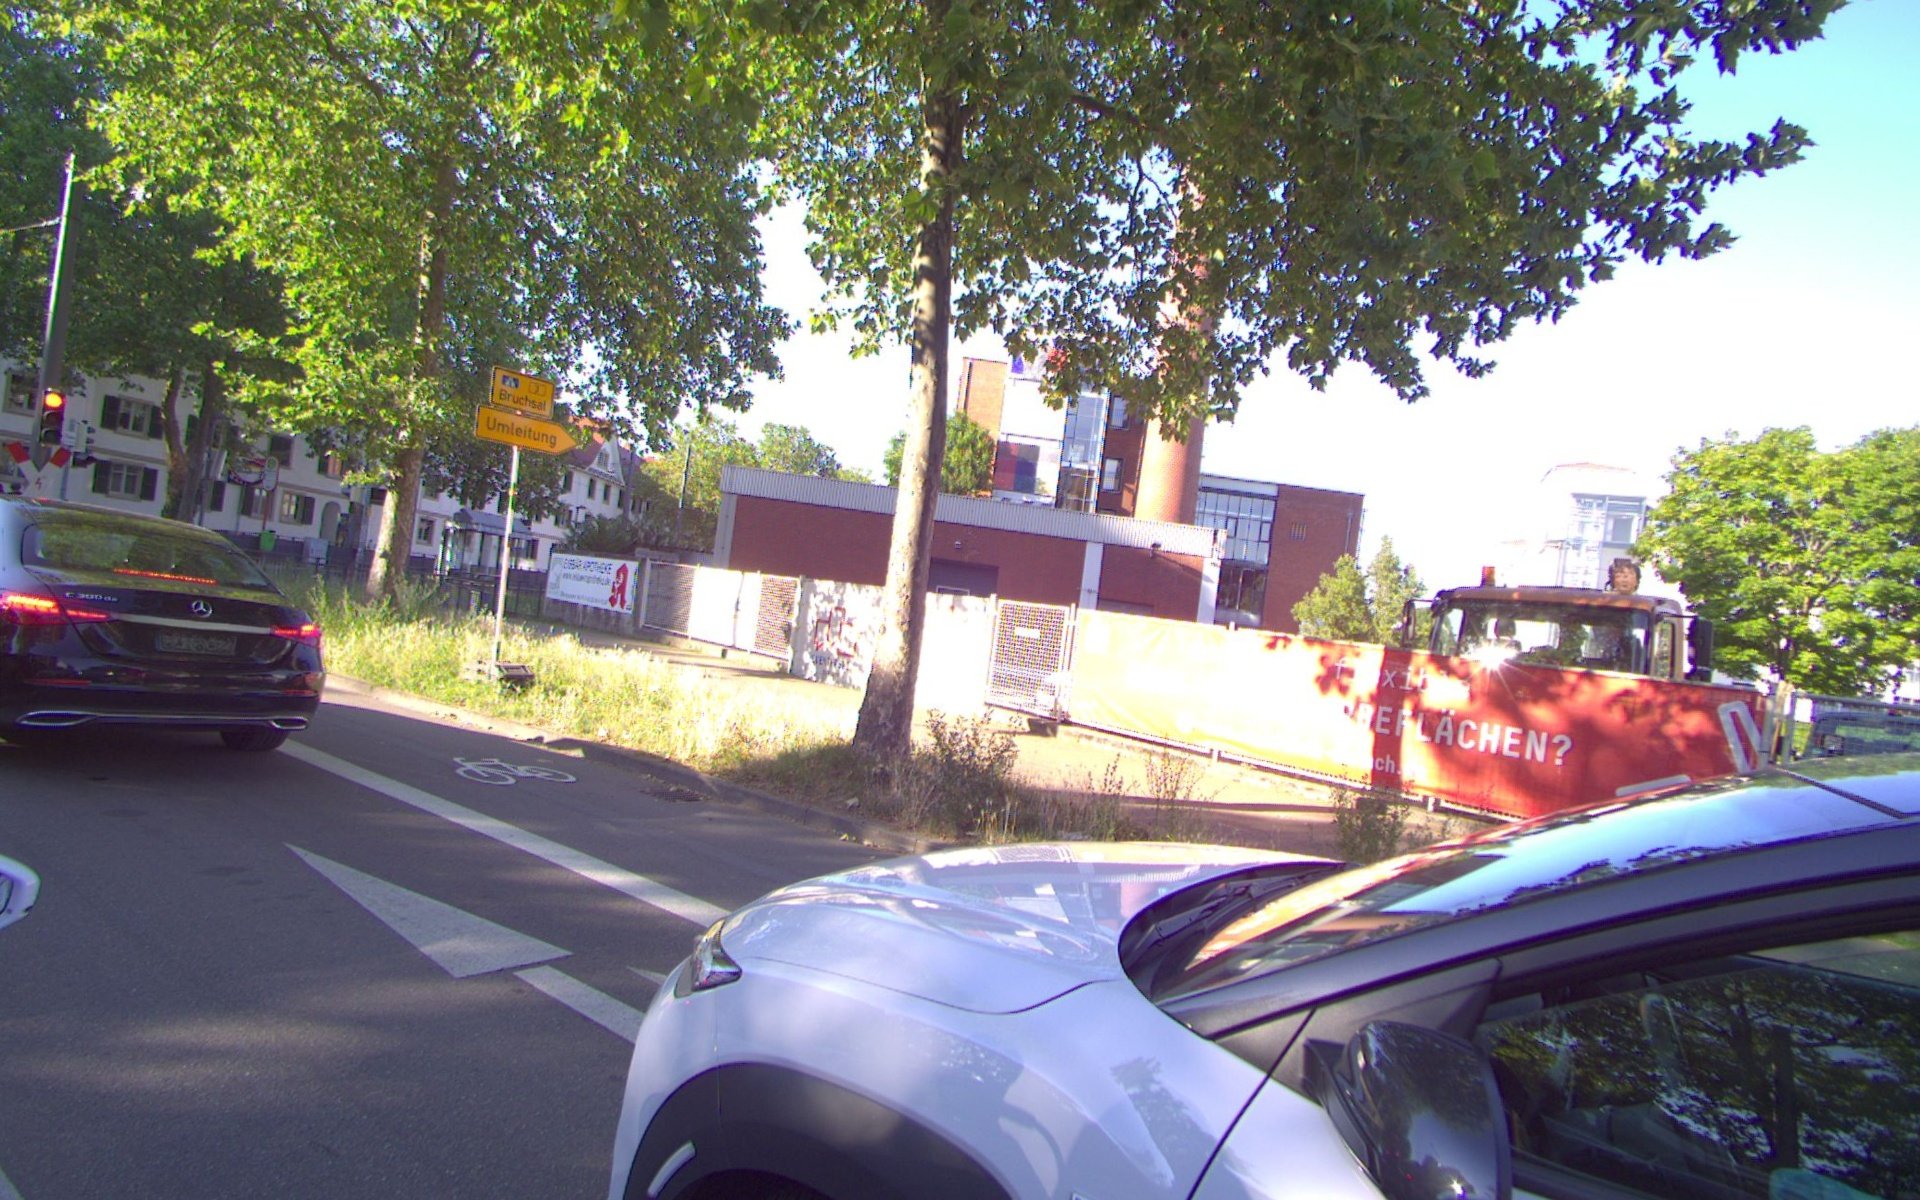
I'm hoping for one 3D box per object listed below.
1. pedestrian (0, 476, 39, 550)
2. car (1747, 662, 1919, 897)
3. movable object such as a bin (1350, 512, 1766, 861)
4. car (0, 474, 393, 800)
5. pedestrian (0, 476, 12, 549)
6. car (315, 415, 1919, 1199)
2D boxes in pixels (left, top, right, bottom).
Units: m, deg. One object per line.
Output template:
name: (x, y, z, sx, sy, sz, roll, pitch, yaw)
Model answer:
pedestrian: (-26.515, -2.430, 28.127, 0.825, 1.940, 0.707, 7, -1, 28)
car: (9.580, 1.824, 10.145, 2.016, 1.849, 4.583, 6, -3, 44)
movable object such as a bin: (7.651, 1.034, 12.403, 3.172, 3.084, 6.266, 6, -2, 41)
car: (-5.994, 0.024, 6.695, 4.308, 1.508, 1.893, 9, -1, 32)
pedestrian: (-26.113, -2.394, 26.907, 0.825, 1.940, 0.707, 7, -1, 28)
car: (1.184, 0.873, 1.253, 3.901, 1.616, 1.893, 9, -1, 33)
